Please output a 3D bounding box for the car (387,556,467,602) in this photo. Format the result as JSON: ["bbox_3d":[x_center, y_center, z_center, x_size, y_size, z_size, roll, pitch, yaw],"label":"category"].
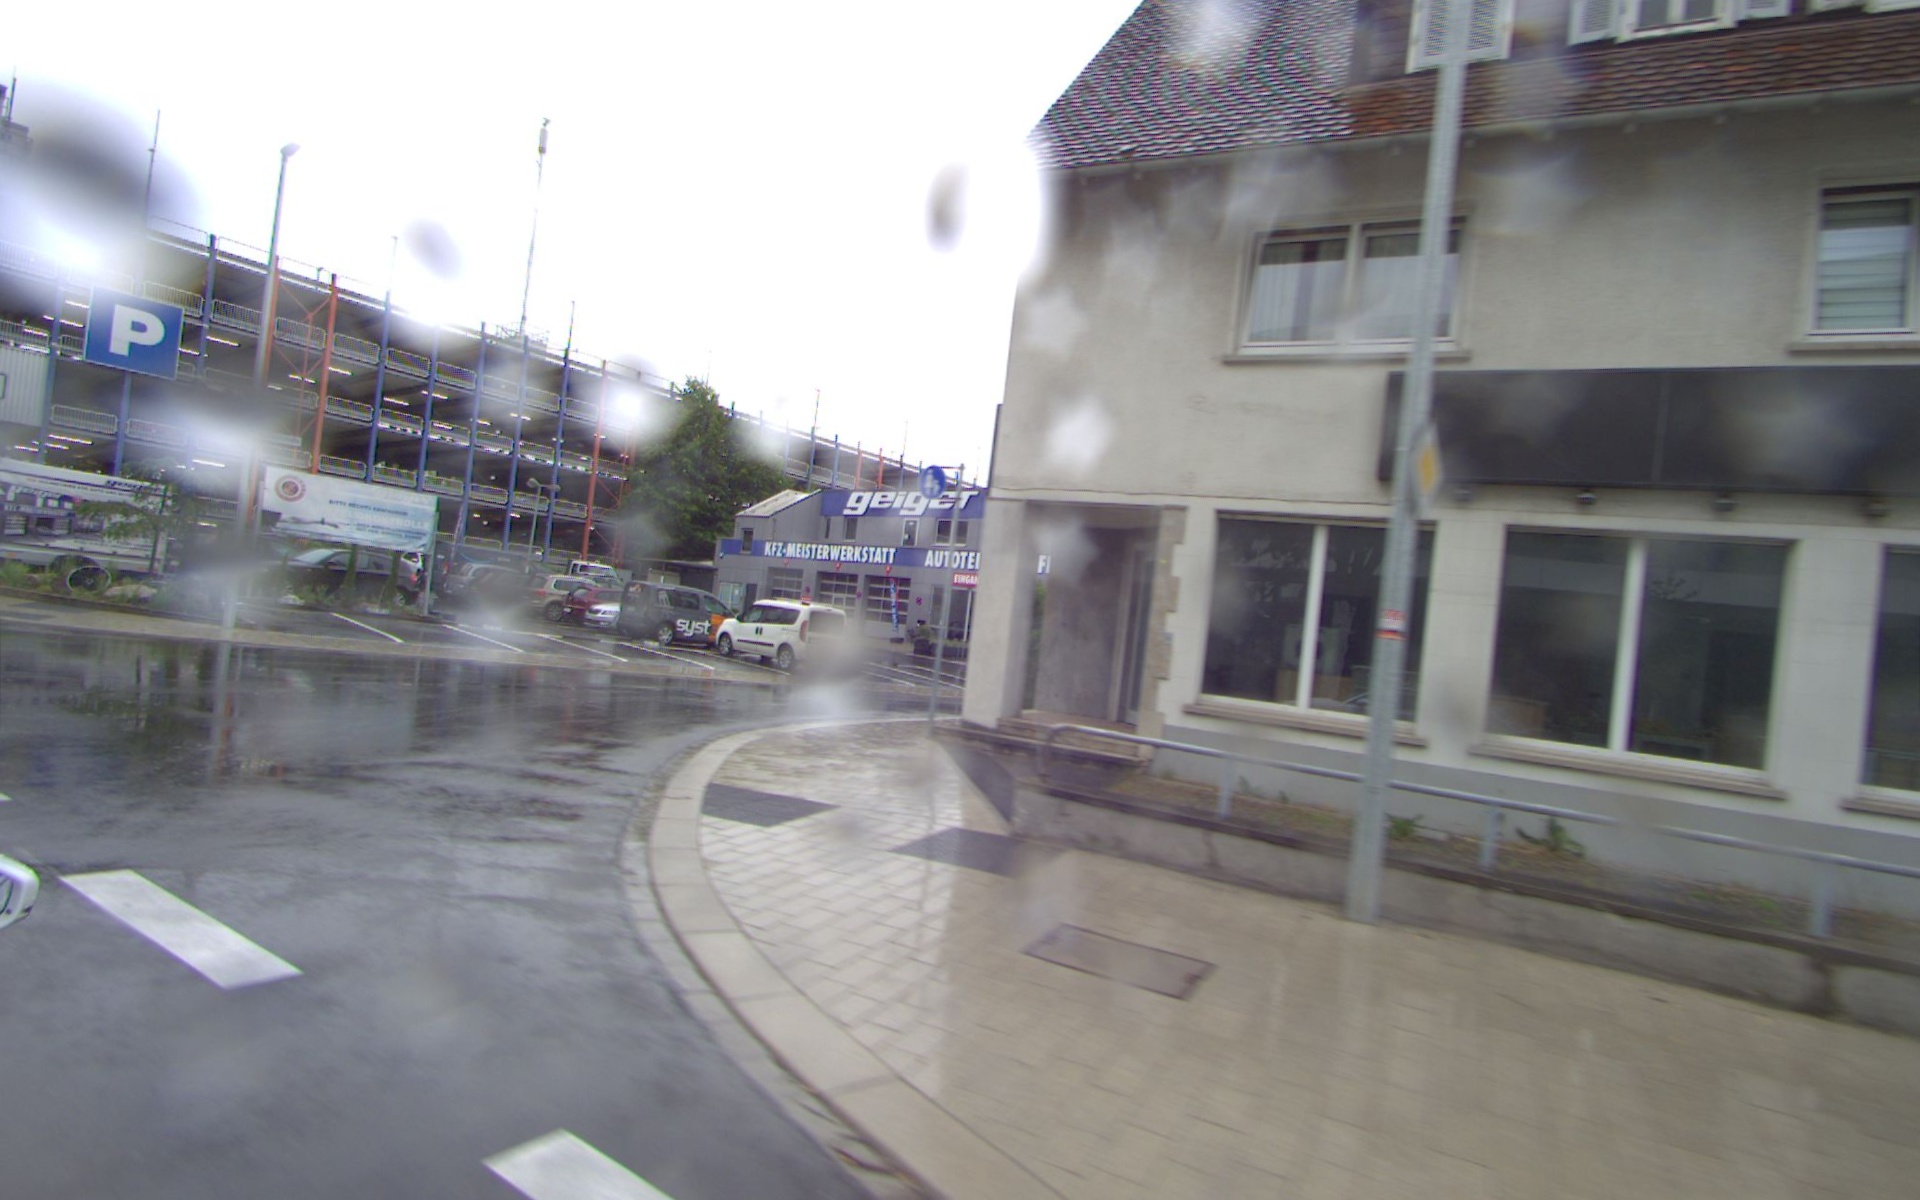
[{"bbox_3d":[-26.290,-1.060,49.601,3.944,1.831,1.894,3,-7,39],"label":"car"}]

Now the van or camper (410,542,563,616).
[{"bbox_3d":[-18.976,-0.802,40.527,2.188,2.354,4.956,6,-1,36],"label":"van or camper"}]

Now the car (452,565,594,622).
[{"bbox_3d":[-16.020,-0.205,37.050,1.837,1.602,4.355,6,-1,37],"label":"car"}]

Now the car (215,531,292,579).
[{"bbox_3d":[-30.889,-1.973,43.950,3.943,1.699,1.728,6,-1,41],"label":"car"}]

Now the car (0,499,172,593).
[{"bbox_3d":[-18.429,-1.118,20.167,1.622,1.547,3.734,5,-1,28],"label":"car"}]

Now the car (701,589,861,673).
[{"bbox_3d":[-5.146,0.859,28.643,4.423,1.851,1.887,6,-1,38],"label":"car"}]

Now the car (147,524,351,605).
[{"bbox_3d":[-17.708,-0.847,25.239,1.700,1.466,3.738,6,-2,25],"label":"car"}]

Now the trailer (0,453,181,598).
[{"bbox_3d":[-16.393,-1.339,18.492,1.522,2.196,2.708,6,-2,30],"label":"trailer"}]

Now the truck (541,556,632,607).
[{"bbox_3d":[-20.608,-1.037,55.451,5.230,2.291,1.997,3,-7,38],"label":"truck"}]

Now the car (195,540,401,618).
[{"bbox_3d":[-15.774,-0.455,24.173,1.662,1.330,3.738,6,-2,25],"label":"car"}]

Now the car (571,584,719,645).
[{"bbox_3d":[-10.157,0.498,32.641,1.840,1.515,4.120,6,-1,42],"label":"car"}]

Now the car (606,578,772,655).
[{"bbox_3d":[-8.244,0.536,30.916,1.869,1.850,4.466,6,-1,44],"label":"car"}]

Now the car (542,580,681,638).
[{"bbox_3d":[-11.923,0.339,34.650,1.837,1.515,4.127,6,-1,37],"label":"car"}]

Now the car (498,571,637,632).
[{"bbox_3d":[-13.863,0.076,35.741,1.837,1.687,4.127,6,-1,37],"label":"car"}]

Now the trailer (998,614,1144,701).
[{"bbox_3d":[4.745,2.472,42.338,2.899,2.762,5.867,2,-8,44],"label":"trailer"}]

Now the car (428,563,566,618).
[{"bbox_3d":[-17.661,-0.329,38.558,1.837,1.602,4.355,6,-1,37],"label":"car"}]
